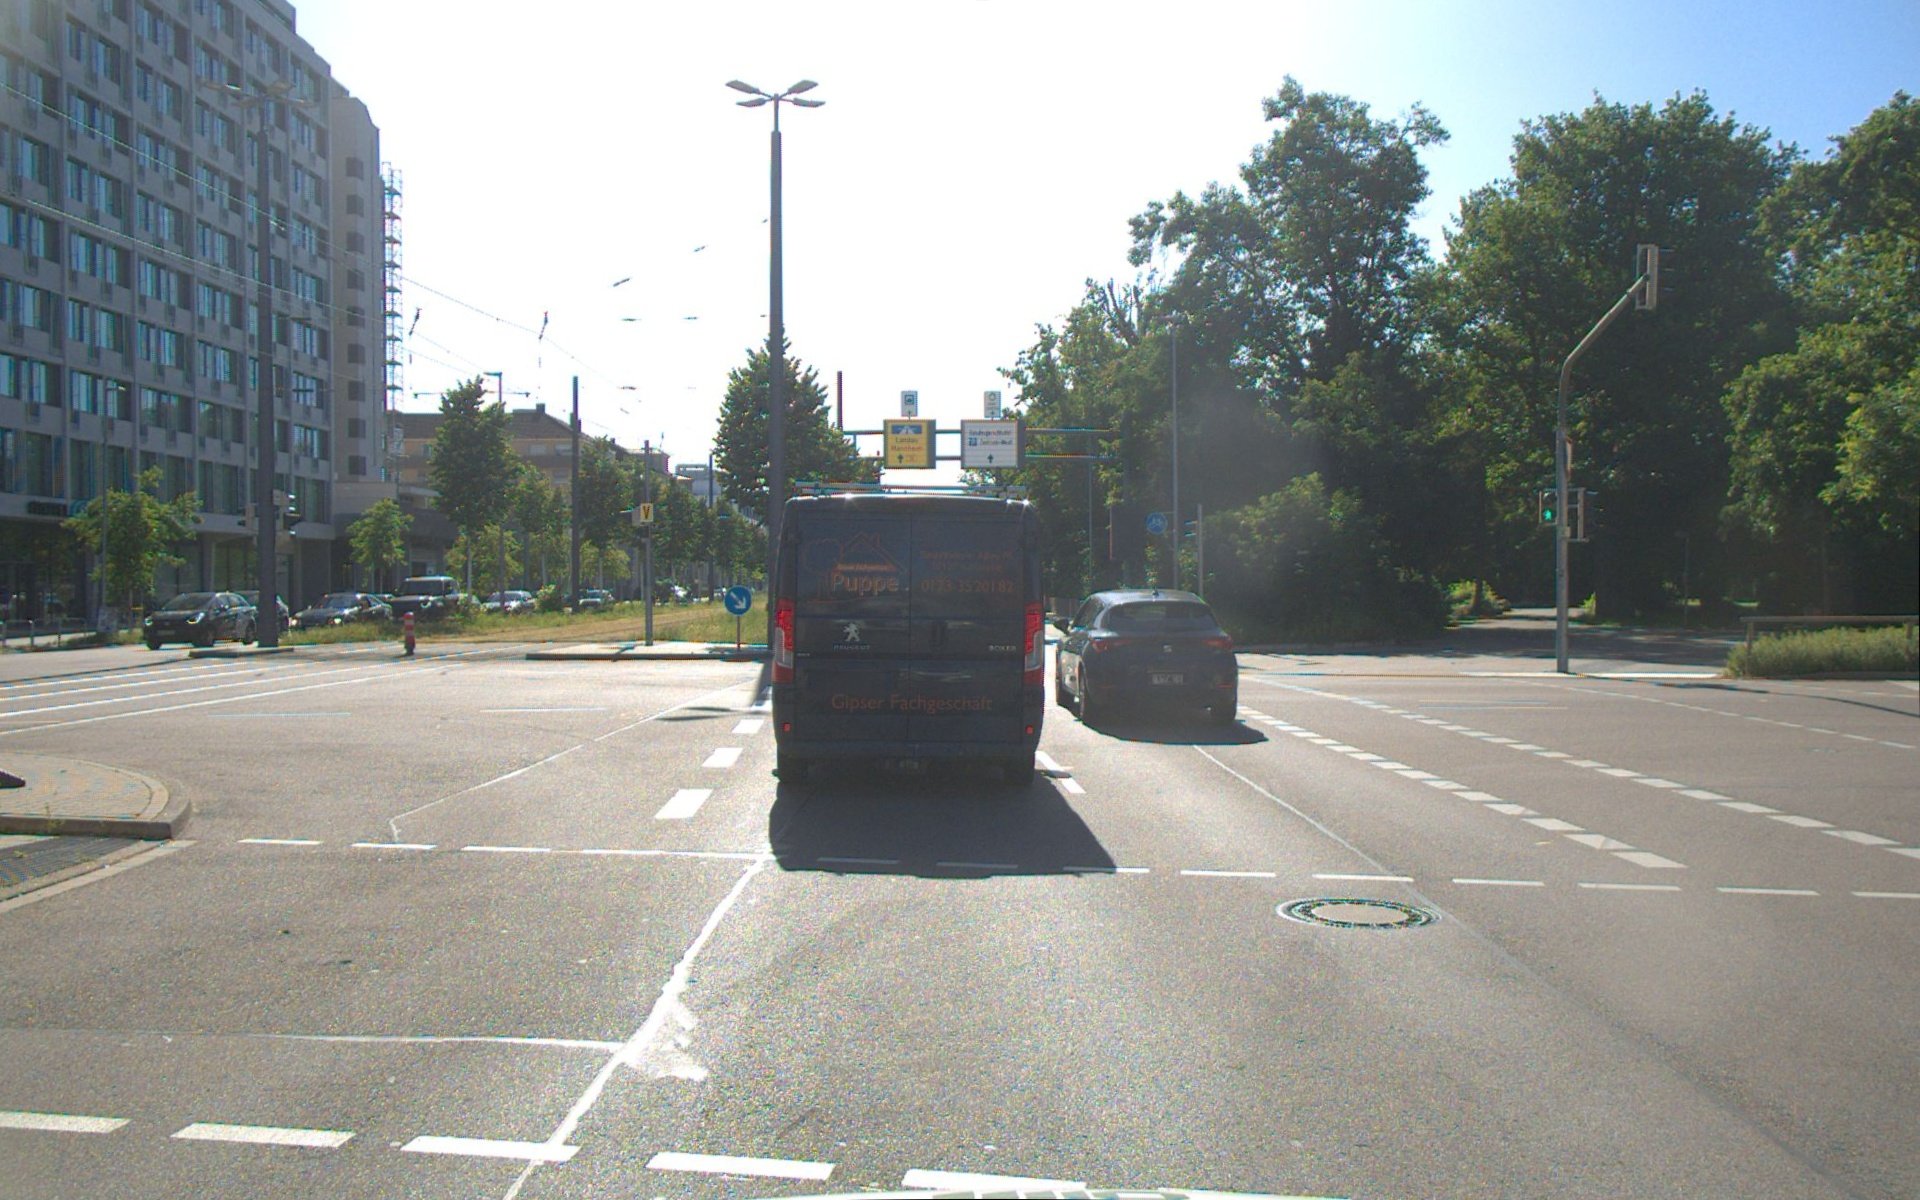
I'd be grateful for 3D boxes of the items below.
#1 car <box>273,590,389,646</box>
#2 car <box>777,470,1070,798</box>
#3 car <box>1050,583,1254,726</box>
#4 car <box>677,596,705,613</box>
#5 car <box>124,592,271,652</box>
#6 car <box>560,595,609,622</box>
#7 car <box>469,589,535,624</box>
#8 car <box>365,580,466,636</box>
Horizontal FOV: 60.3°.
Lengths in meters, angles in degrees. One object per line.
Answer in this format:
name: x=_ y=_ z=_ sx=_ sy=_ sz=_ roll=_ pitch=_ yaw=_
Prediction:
car: x=-18.736 y=0.509 z=49.446 sx=1.953 sy=1.579 sz=4.000 roll=1 pitch=0 yaw=0
car: x=-0.304 y=0.230 z=13.671 sx=2.040 sy=2.288 sz=3.999 roll=1 pitch=0 yaw=-2
car: x=2.136 y=0.562 z=19.422 sx=1.728 sy=1.488 sz=3.998 roll=1 pitch=0 yaw=-3
car: x=-25.404 y=0.420 z=156.181 sx=1.953 sy=1.579 sz=4.000 roll=1 pitch=0 yaw=0
car: x=-21.246 y=0.571 z=46.255 sx=1.951 sy=1.579 sz=4.003 roll=1 pitch=0 yaw=6
car: x=-22.484 y=0.483 z=99.055 sx=1.952 sy=1.579 sz=4.000 roll=1 pitch=0 yaw=1
car: x=-21.677 y=0.276 z=78.363 sx=1.952 sy=1.579 sz=4.000 roll=1 pitch=0 yaw=1
car: x=-18.749 y=0.242 z=57.168 sx=1.952 sy=1.851 sz=4.286 roll=1 pitch=0 yaw=1
